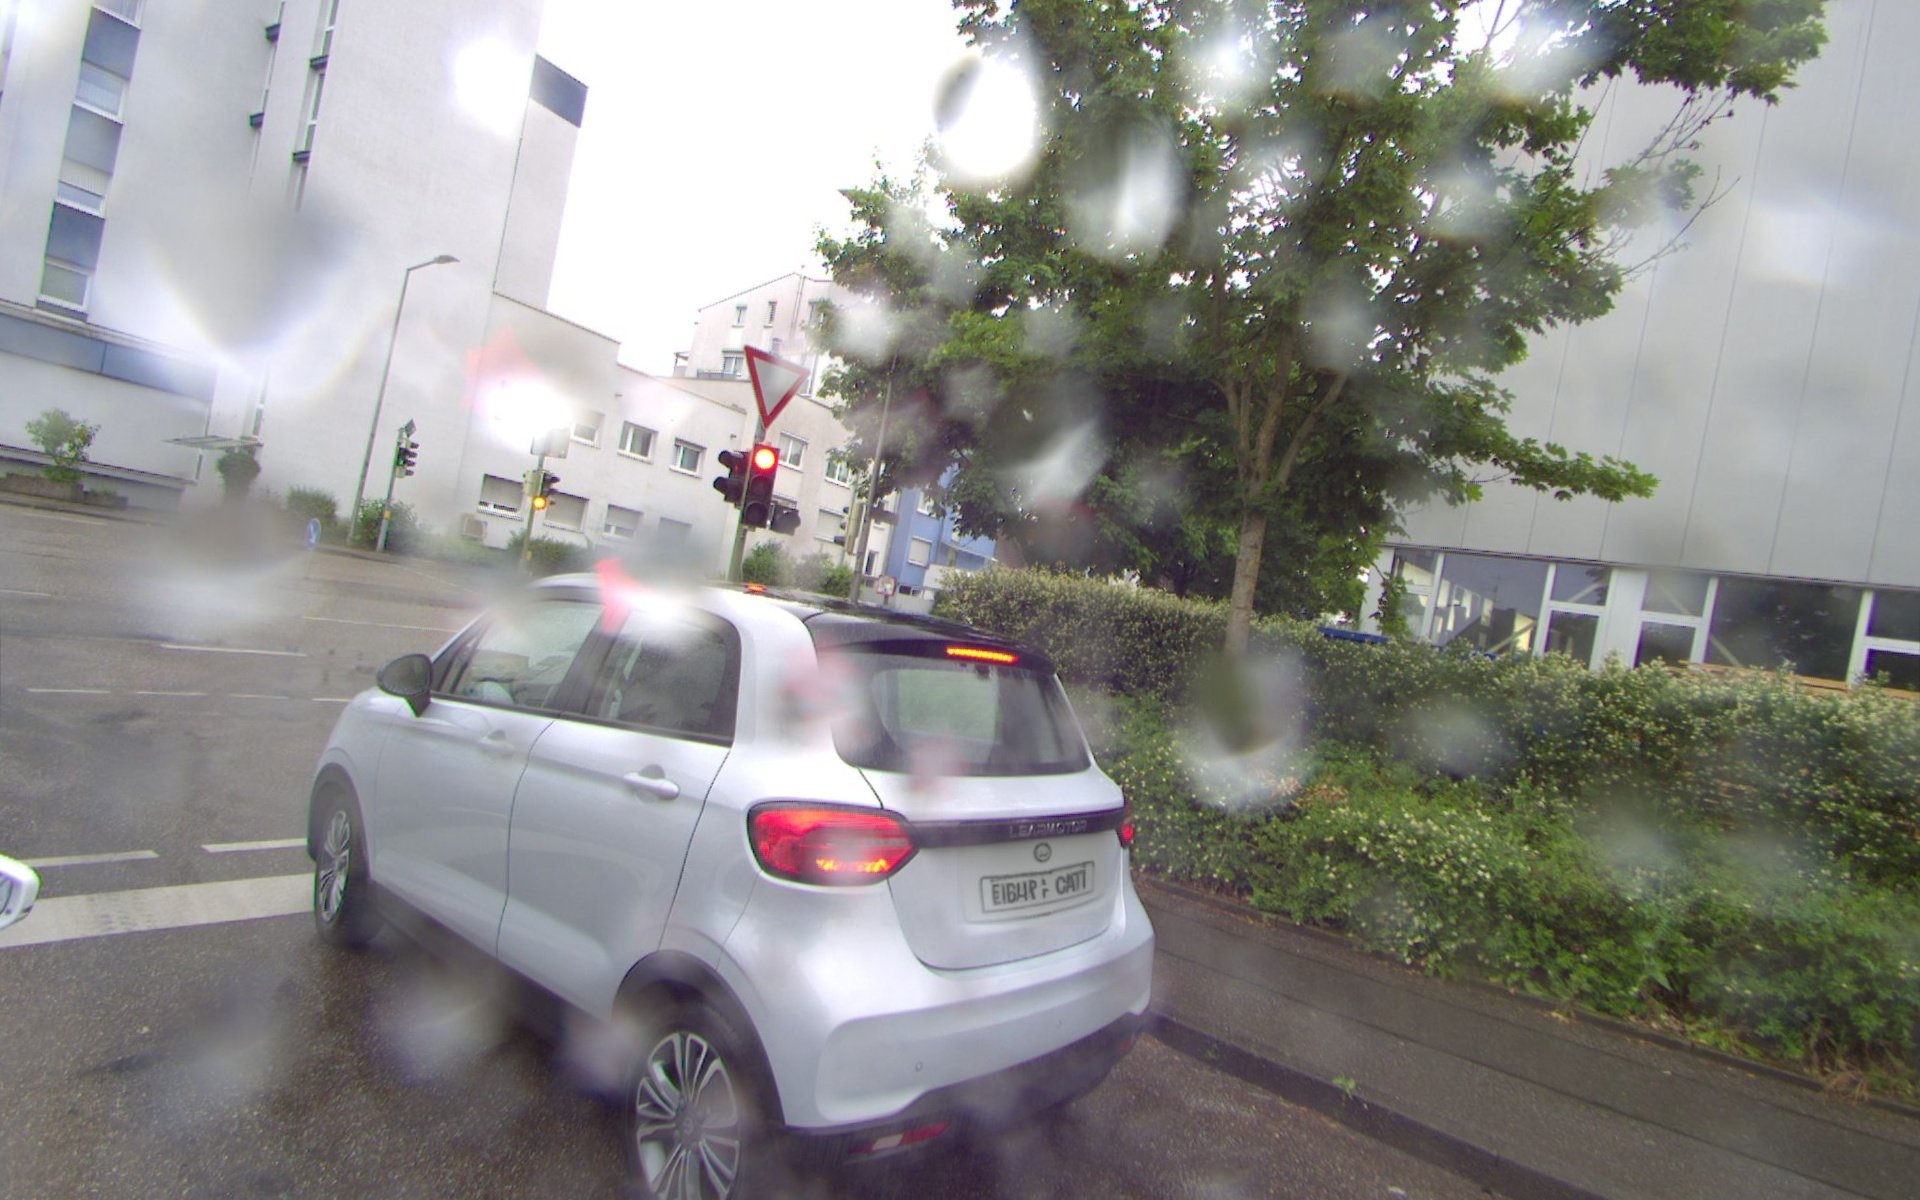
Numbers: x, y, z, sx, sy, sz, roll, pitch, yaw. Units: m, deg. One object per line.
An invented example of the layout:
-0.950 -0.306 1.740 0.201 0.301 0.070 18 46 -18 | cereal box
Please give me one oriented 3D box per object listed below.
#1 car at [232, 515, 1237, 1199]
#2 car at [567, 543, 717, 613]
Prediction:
-1.185 0.704 3.906 3.850 1.573 1.688 8 0 41 | car
-10.106 -0.681 32.190 1.717 1.504 4.134 12 1 40 | car
